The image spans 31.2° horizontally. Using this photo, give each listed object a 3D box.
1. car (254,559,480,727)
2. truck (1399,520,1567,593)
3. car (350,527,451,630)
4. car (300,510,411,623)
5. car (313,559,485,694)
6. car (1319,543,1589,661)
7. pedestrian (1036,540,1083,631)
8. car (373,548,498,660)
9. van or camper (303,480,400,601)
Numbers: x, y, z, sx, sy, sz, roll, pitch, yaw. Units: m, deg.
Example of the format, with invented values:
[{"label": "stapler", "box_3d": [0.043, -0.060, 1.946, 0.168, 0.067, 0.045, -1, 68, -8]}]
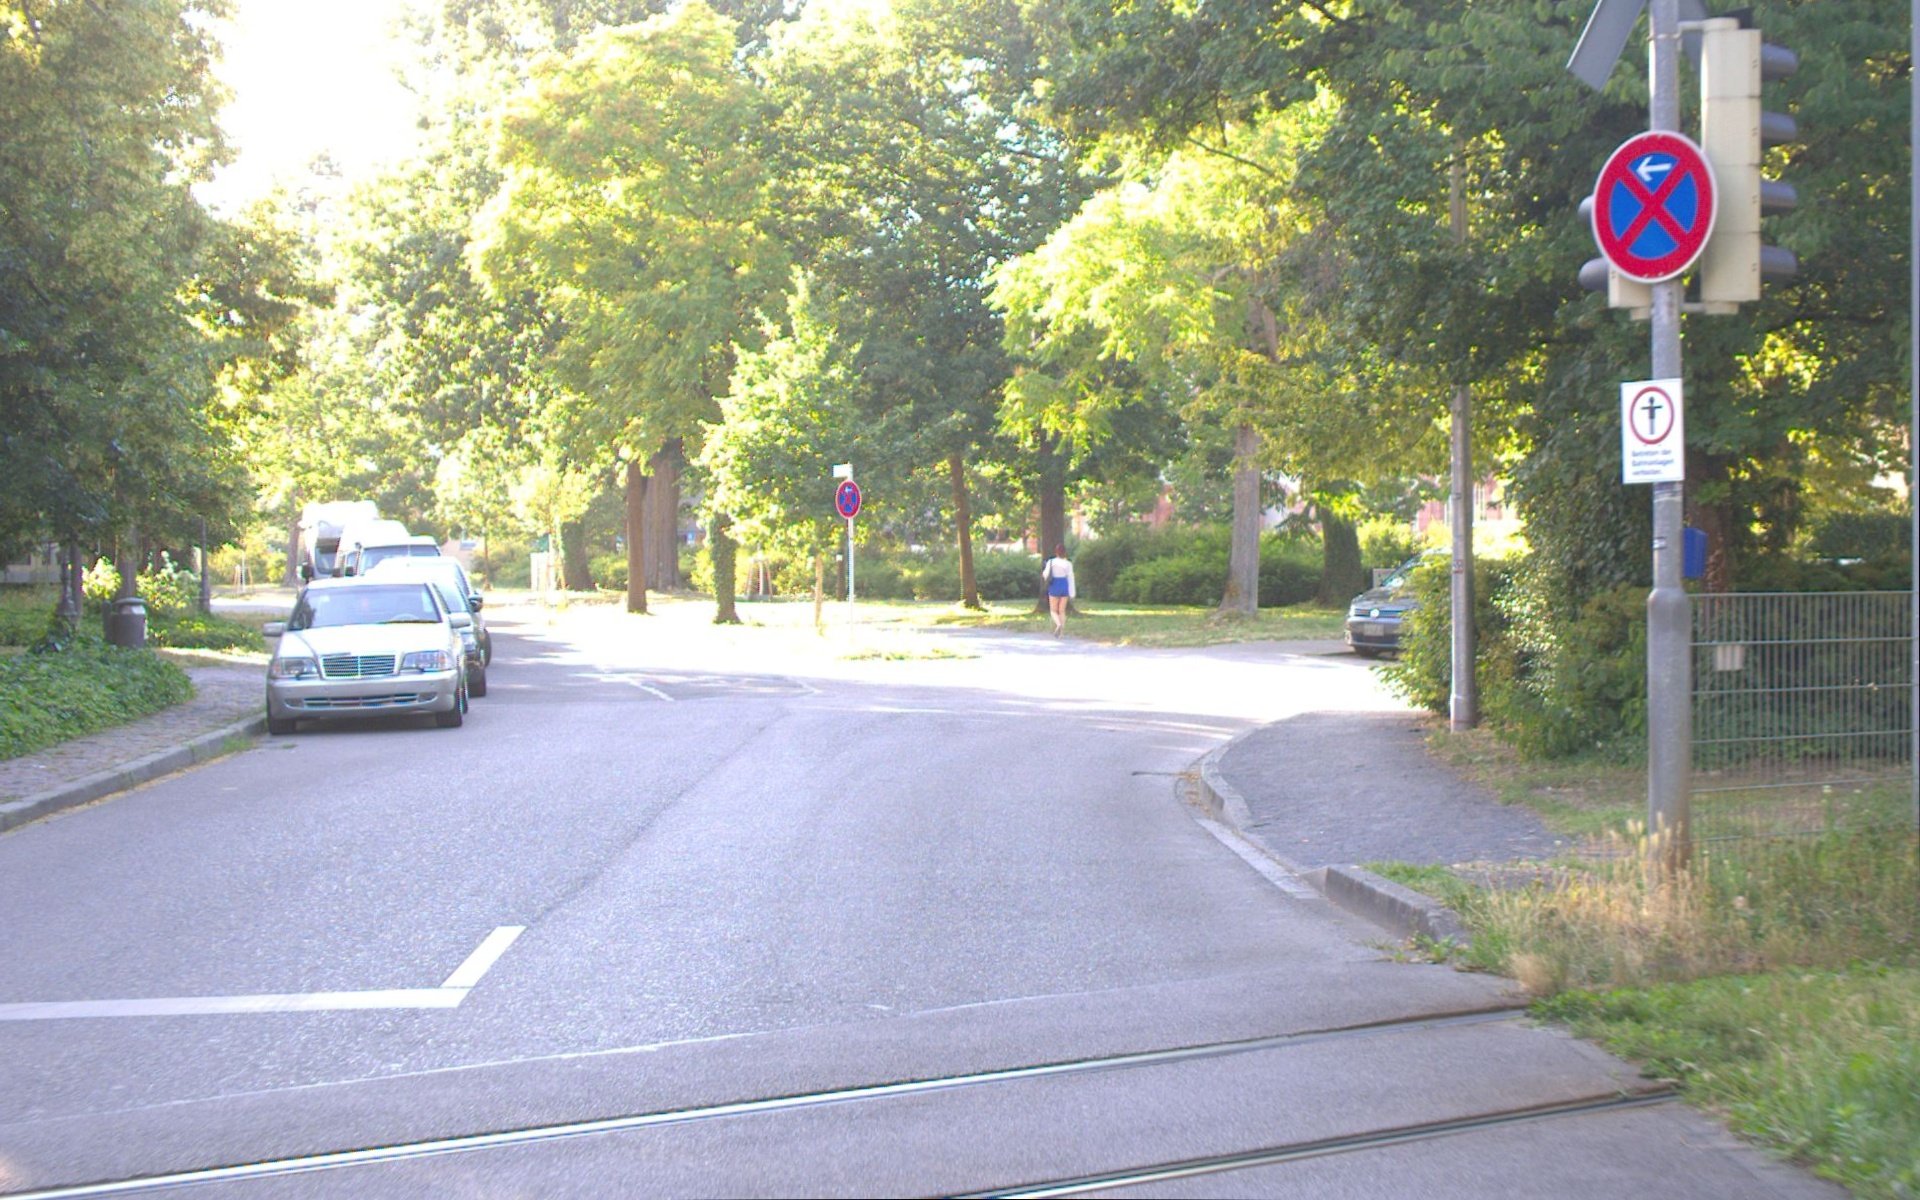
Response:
[{"label": "car", "box_3d": [-5.606, 0.357, 32.940, 1.779, 1.411, 4.499, -2, 1, -6]}, {"label": "truck", "box_3d": [22.156, -1.852, 146.057, 2.604, 3.019, 8.009, 0, 1, -30]}, {"label": "car", "box_3d": [-10.941, -0.435, 66.972, 1.850, 1.939, 4.842, 0, 1, -10]}, {"label": "car", "box_3d": [-13.064, -0.724, 74.129, 1.850, 2.348, 5.188, 0, 1, -16]}, {"label": "car", "box_3d": [-6.543, 0.262, 40.203, 1.824, 1.411, 4.496, -2, 1, -9]}, {"label": "car", "box_3d": [7.576, 0.002, 52.475, 4.309, 1.670, 1.806, -1, 3, -45]}, {"label": "pedestrian", "box_3d": [1.727, -0.253, 59.903, 0.773, 1.569, 0.768, 0, 1, 0]}, {"label": "car", "box_3d": [-7.700, 0.033, 50.244, 1.704, 1.573, 3.698, 0, 1, -10]}, {"label": "van or camper", "box_3d": [-15.256, -1.471, 85.961, 2.089, 2.898, 6.334, 0, 1, -13]}]
